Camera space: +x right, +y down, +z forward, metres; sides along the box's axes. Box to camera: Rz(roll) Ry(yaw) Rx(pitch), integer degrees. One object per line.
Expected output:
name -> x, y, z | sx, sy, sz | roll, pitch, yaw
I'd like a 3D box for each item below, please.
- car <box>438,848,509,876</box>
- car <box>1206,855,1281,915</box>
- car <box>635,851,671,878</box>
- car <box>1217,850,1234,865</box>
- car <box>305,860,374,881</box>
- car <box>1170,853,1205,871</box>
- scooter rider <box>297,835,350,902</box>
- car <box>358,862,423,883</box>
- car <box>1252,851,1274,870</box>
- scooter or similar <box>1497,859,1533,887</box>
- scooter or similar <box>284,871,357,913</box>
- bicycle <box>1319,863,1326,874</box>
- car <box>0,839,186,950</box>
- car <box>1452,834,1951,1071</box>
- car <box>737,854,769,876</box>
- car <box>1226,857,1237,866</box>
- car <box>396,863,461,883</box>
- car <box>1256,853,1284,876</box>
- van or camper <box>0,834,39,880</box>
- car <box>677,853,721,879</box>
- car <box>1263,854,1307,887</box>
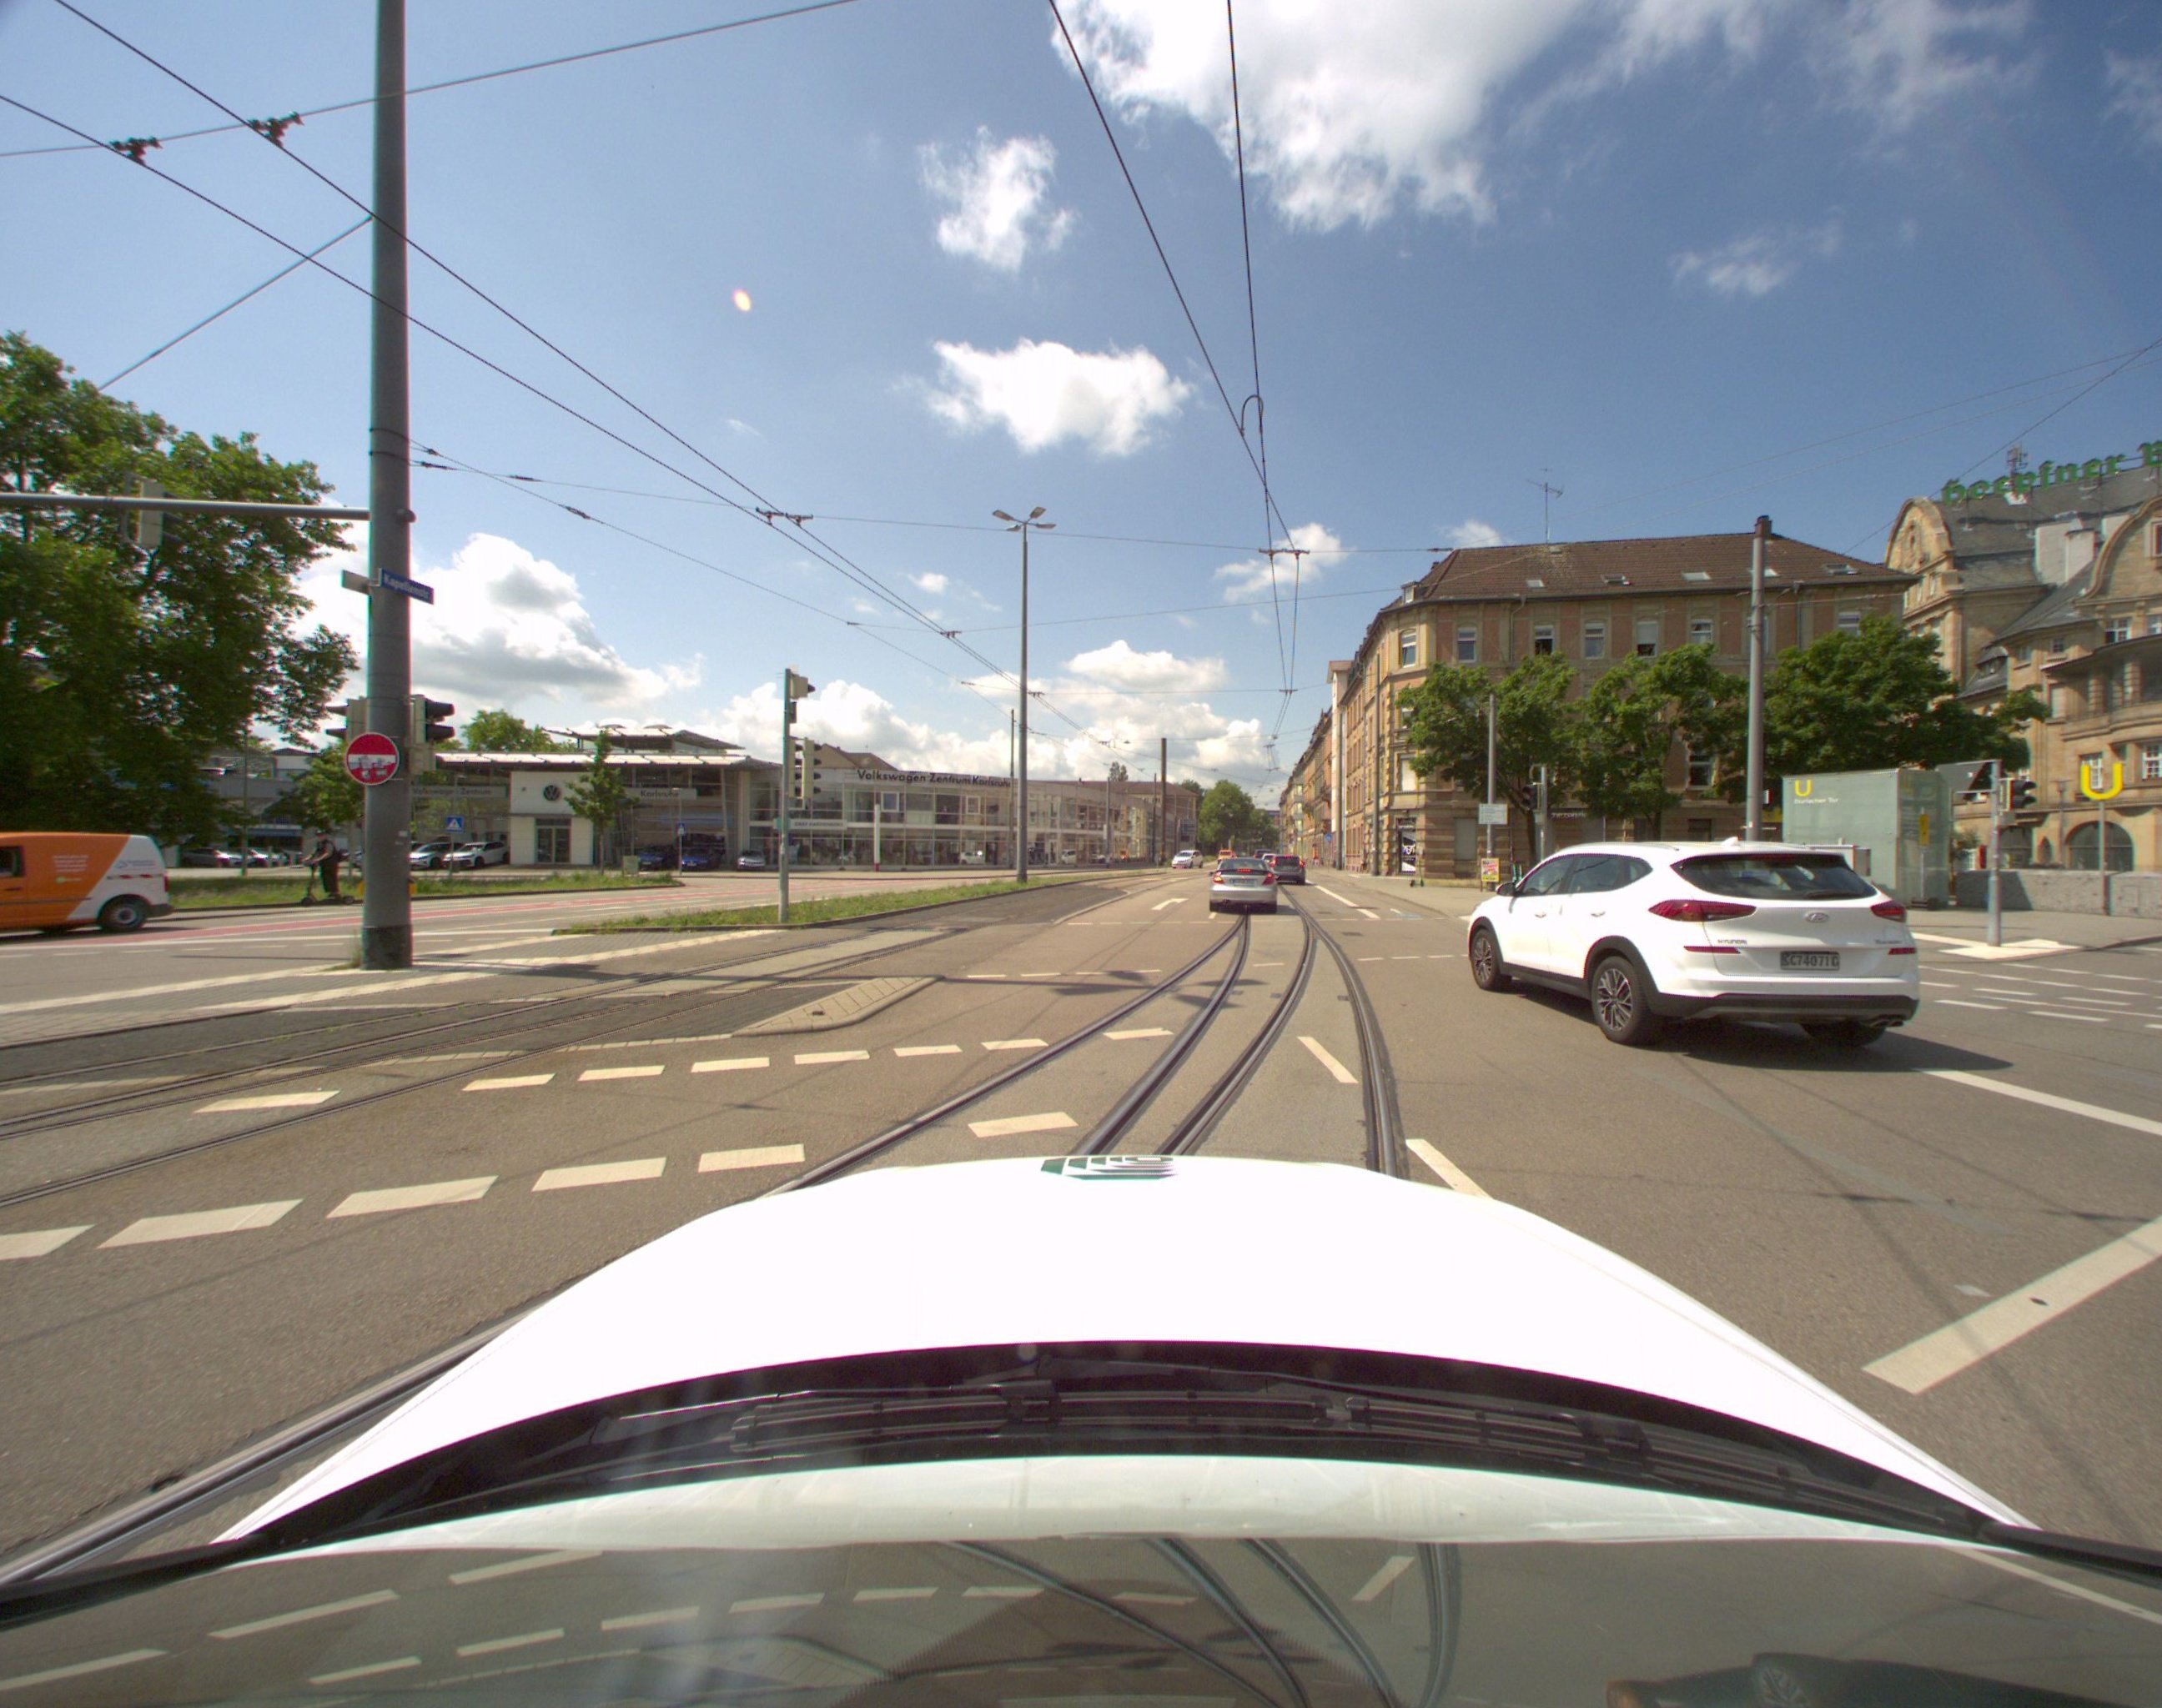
car -> -39.293, 0.503, 52.786 | 1.690, 1.774, 3.862 | 0, -1, -2
car -> 4.341, 0.759, 21.979 | 1.803, 1.420, 4.199 | 0, 0, 10
car -> -27.738, 0.671, 52.680 | 1.783, 1.673, 3.602 | 1, -1, -32
car -> 17.806, 0.443, 100.099 | 1.898, 1.866, 4.381 | -1, -1, 12
car -> -47.022, 1.030, 51.716 | 1.553, 1.246, 3.626 | 1, 0, -11
car -> 9.850, 0.736, 74.766 | 1.750, 1.604, 4.520 | -1, -1, 27
scooter rider -> -19.581, 0.366, 21.062 | 0.772, 1.707, 0.651 | 0, -1, 12
car -> -44.228, 1.176, 52.251 | 1.553, 1.246, 3.626 | 1, 0, -11
car -> 15.789, 0.563, 70.764 | 1.802, 1.662, 4.098 | 0, -1, 12
scooter or similar -> 19.151, 0.816, 35.977 | 0.943, 1.203, 1.392 | -1, -1, 5
scooter or similar -> -19.597, 0.965, 21.010 | 0.798, 1.032, 1.096 | 0, -1, 12
bicycle -> 26.572, 1.576, 89.483 | 0.582, 1.178, 2.212 | 0, -1, 13
car -> -18.021, 0.653, 13.312 | 1.754, 1.765, 4.253 | 0, 0, 10
car -> 5.284, 0.680, 7.795 | 1.844, 1.634, 4.186 | 0, 0, 4
car -> -22.043, 0.745, 54.702 | 1.837, 1.447, 3.915 | 1, -1, -24
car -> 24.900, 1.216, 134.794 | 1.691, 1.428, 3.914 | 0, -1, 11
car -> -41.972, 1.184, 52.473 | 1.551, 1.246, 3.630 | 0, 0, -7
car -> 12.939, 0.706, 55.966 | 1.802, 1.524, 3.968 | 0, 0, 12
van or camper -> -60.139, 0.141, 42.677 | 2.564, 2.499, 6.678 | 0, 0, -1
car -> -24.513, 0.771, 52.379 | 1.656, 1.473, 3.774 | 1, 2, -11
car -> 9.997, 0.774, 40.130 | 1.803, 1.524, 4.096 | 0, 0, 10
